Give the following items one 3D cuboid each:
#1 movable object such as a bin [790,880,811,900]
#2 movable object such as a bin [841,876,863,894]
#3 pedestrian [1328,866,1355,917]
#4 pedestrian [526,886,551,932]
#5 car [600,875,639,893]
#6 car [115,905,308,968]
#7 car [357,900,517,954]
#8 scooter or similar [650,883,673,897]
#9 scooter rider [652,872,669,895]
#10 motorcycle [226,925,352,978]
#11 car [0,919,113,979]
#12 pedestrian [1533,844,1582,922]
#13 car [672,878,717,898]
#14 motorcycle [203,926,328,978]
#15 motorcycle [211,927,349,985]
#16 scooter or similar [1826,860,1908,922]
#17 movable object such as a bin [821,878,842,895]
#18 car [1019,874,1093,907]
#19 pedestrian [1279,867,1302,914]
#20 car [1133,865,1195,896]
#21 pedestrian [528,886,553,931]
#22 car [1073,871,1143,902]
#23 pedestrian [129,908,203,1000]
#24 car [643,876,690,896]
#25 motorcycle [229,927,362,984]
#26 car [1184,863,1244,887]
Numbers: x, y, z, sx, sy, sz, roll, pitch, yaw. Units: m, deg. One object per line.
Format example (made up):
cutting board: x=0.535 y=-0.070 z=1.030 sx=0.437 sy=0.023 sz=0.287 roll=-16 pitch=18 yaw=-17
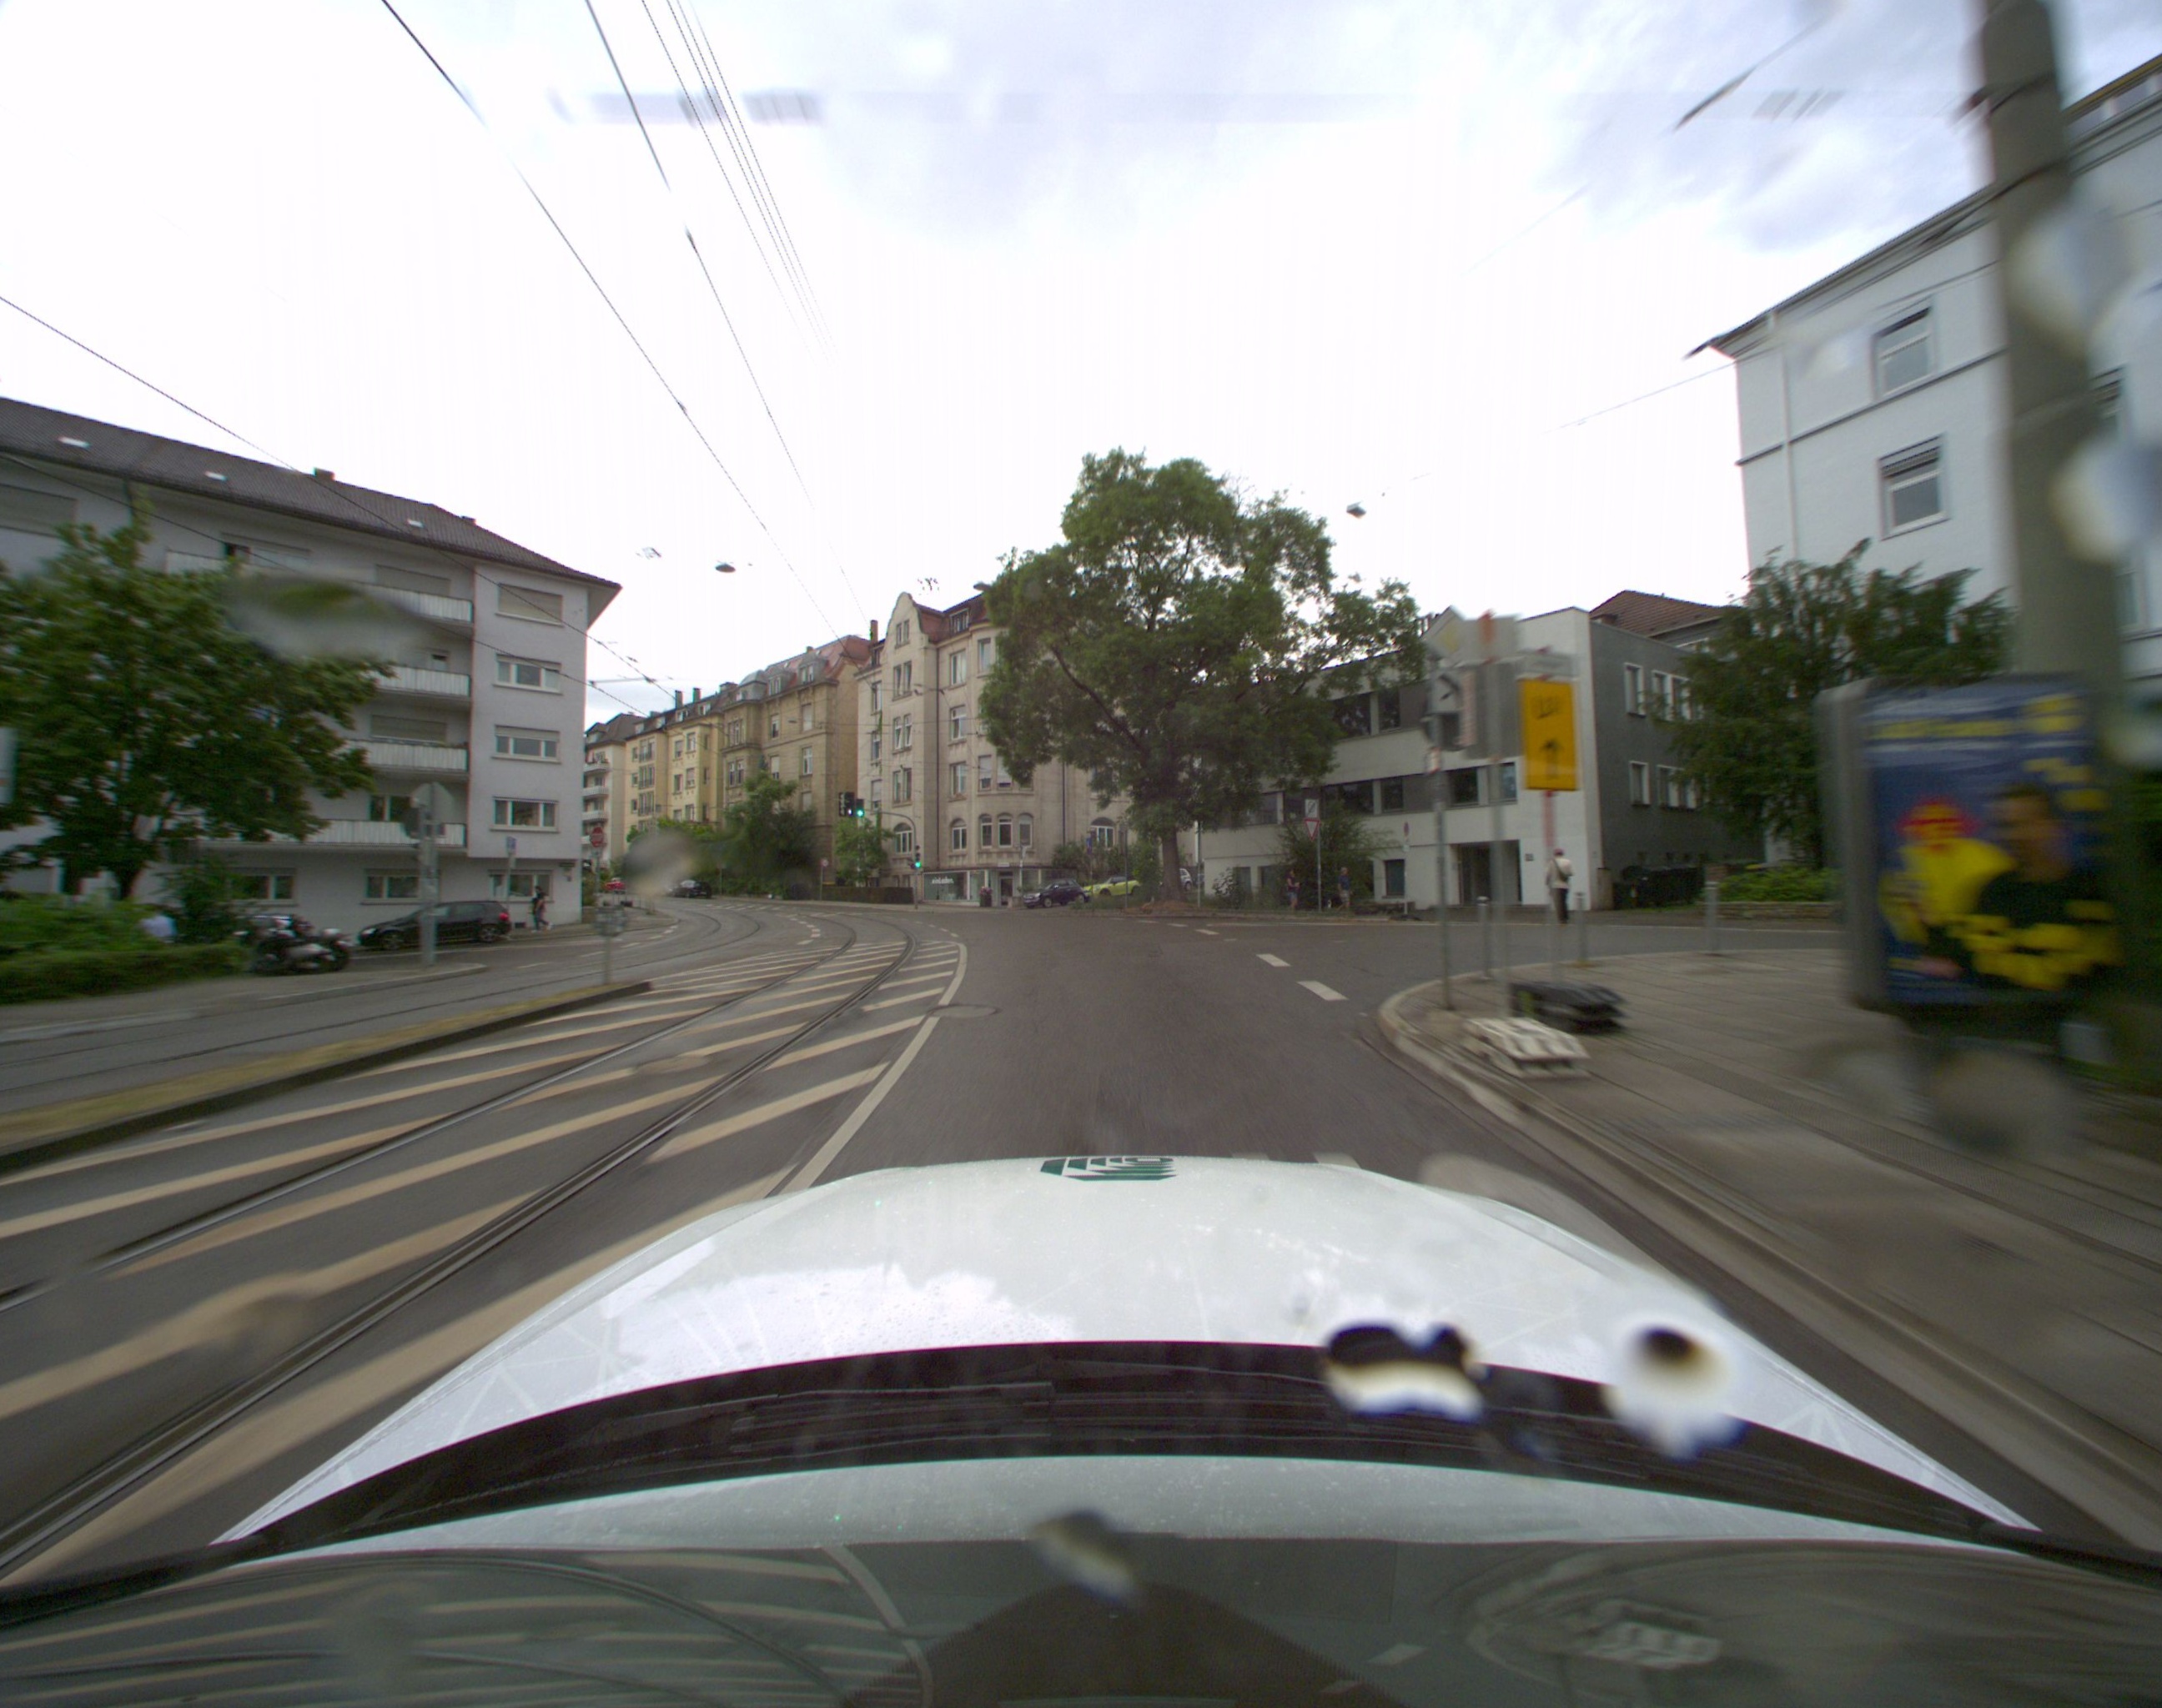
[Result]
movable object such as a bin: x=-21.462 y=2.749 z=62.354 sx=0.812 sy=1.403 sz=1.237 roll=1 pitch=1 yaw=34
movable object such as a bin: x=-18.582 y=2.514 z=66.081 sx=1.291 sy=1.425 sz=1.242 roll=-1 pitch=-1 yaw=41
pedestrian: x=8.490 y=1.201 z=26.531 sx=0.547 sy=1.629 sz=0.596 roll=1 pitch=0 yaw=-31
pedestrian: x=-21.016 y=2.113 z=31.572 sx=0.749 sy=1.700 sz=0.666 roll=1 pitch=0 yaw=-38
car: x=-41.713 y=2.710 z=73.611 sx=3.791 sy=1.437 sz=1.738 roll=0 pitch=-3 yaw=39
car: x=-26.165 y=2.435 z=24.705 sx=3.914 sy=1.454 sz=1.634 roll=-1 pitch=1 yaw=-45
car: x=-22.414 y=2.477 z=28.452 sx=4.276 sy=1.454 sz=1.833 roll=-1 pitch=1 yaw=-42
scooter or similar: x=-32.613 y=2.802 z=63.351 sx=1.983 sy=1.050 sz=0.518 roll=0 pitch=-5 yaw=29
scooter rider: x=-32.761 y=2.290 z=63.441 sx=0.833 sy=1.706 sz=0.628 roll=1 pitch=-5 yaw=29
motorcycle: x=-19.102 y=2.319 z=19.693 sx=0.479 sy=1.048 sz=2.137 roll=1 pitch=1 yaw=40
car: x=-29.076 y=2.589 z=21.896 sx=1.599 sy=1.441 sz=3.771 roll=-3 pitch=-3 yaw=45
pedestrian: x=10.681 y=0.637 z=18.246 sx=0.748 sy=1.700 sz=0.666 roll=0 pitch=-2 yaw=-36
car: x=-30.723 y=2.678 z=64.696 sx=3.949 sy=1.391 sz=1.782 roll=1 pitch=-2 yaw=41
motorcycle: x=-20.134 y=2.389 z=20.154 sx=0.479 sy=1.048 sz=2.137 roll=1 pitch=1 yaw=40
motorcycle: x=-17.704 y=2.226 z=18.049 sx=0.479 sy=1.049 sz=2.137 roll=-1 pitch=-1 yaw=40
scooter or similar: x=16.776 y=0.801 z=17.417 sx=0.464 sy=1.290 sz=1.094 roll=1 pitch=-5 yaw=-21
movable object such as a bin: x=-19.823 y=2.565 z=64.677 sx=1.153 sy=1.308 sz=1.229 roll=-1 pitch=-1 yaw=41
car: x=-1.320 y=1.929 z=43.701 sx=3.689 sy=1.508 sz=1.717 roll=-2 pitch=0 yaw=-40
pedestrian: x=7.153 y=1.241 z=27.824 sx=0.599 sy=1.566 sz=0.544 roll=1 pitch=0 yaw=-8
car: x=5.086 y=1.613 z=49.561 sx=3.796 sy=1.508 sz=1.603 roll=-4 pitch=-2 yaw=-44
pedestrian: x=-21.481 y=2.155 z=32.358 sx=0.749 sy=1.700 sz=0.665 roll=1 pitch=0 yaw=-39
car: x=1.555 y=1.813 z=46.341 sx=3.689 sy=1.508 sz=1.717 roll=-2 pitch=0 yaw=-40
pedestrian: x=-17.725 y=1.914 z=15.789 sx=0.567 sy=1.684 sz=0.774 roll=-2 pitch=-1 yaw=-5
car: x=-34.759 y=2.621 z=68.311 sx=4.233 sy=1.604 sz=1.782 roll=-1 pitch=-2 yaw=37
motorcycle: x=-17.931 y=2.289 z=18.643 sx=0.479 sy=1.048 sz=2.137 roll=1 pitch=1 yaw=40
car: x=8.746 y=1.376 z=53.339 sx=3.915 sy=1.508 sz=1.605 roll=1 pitch=-4 yaw=-38
